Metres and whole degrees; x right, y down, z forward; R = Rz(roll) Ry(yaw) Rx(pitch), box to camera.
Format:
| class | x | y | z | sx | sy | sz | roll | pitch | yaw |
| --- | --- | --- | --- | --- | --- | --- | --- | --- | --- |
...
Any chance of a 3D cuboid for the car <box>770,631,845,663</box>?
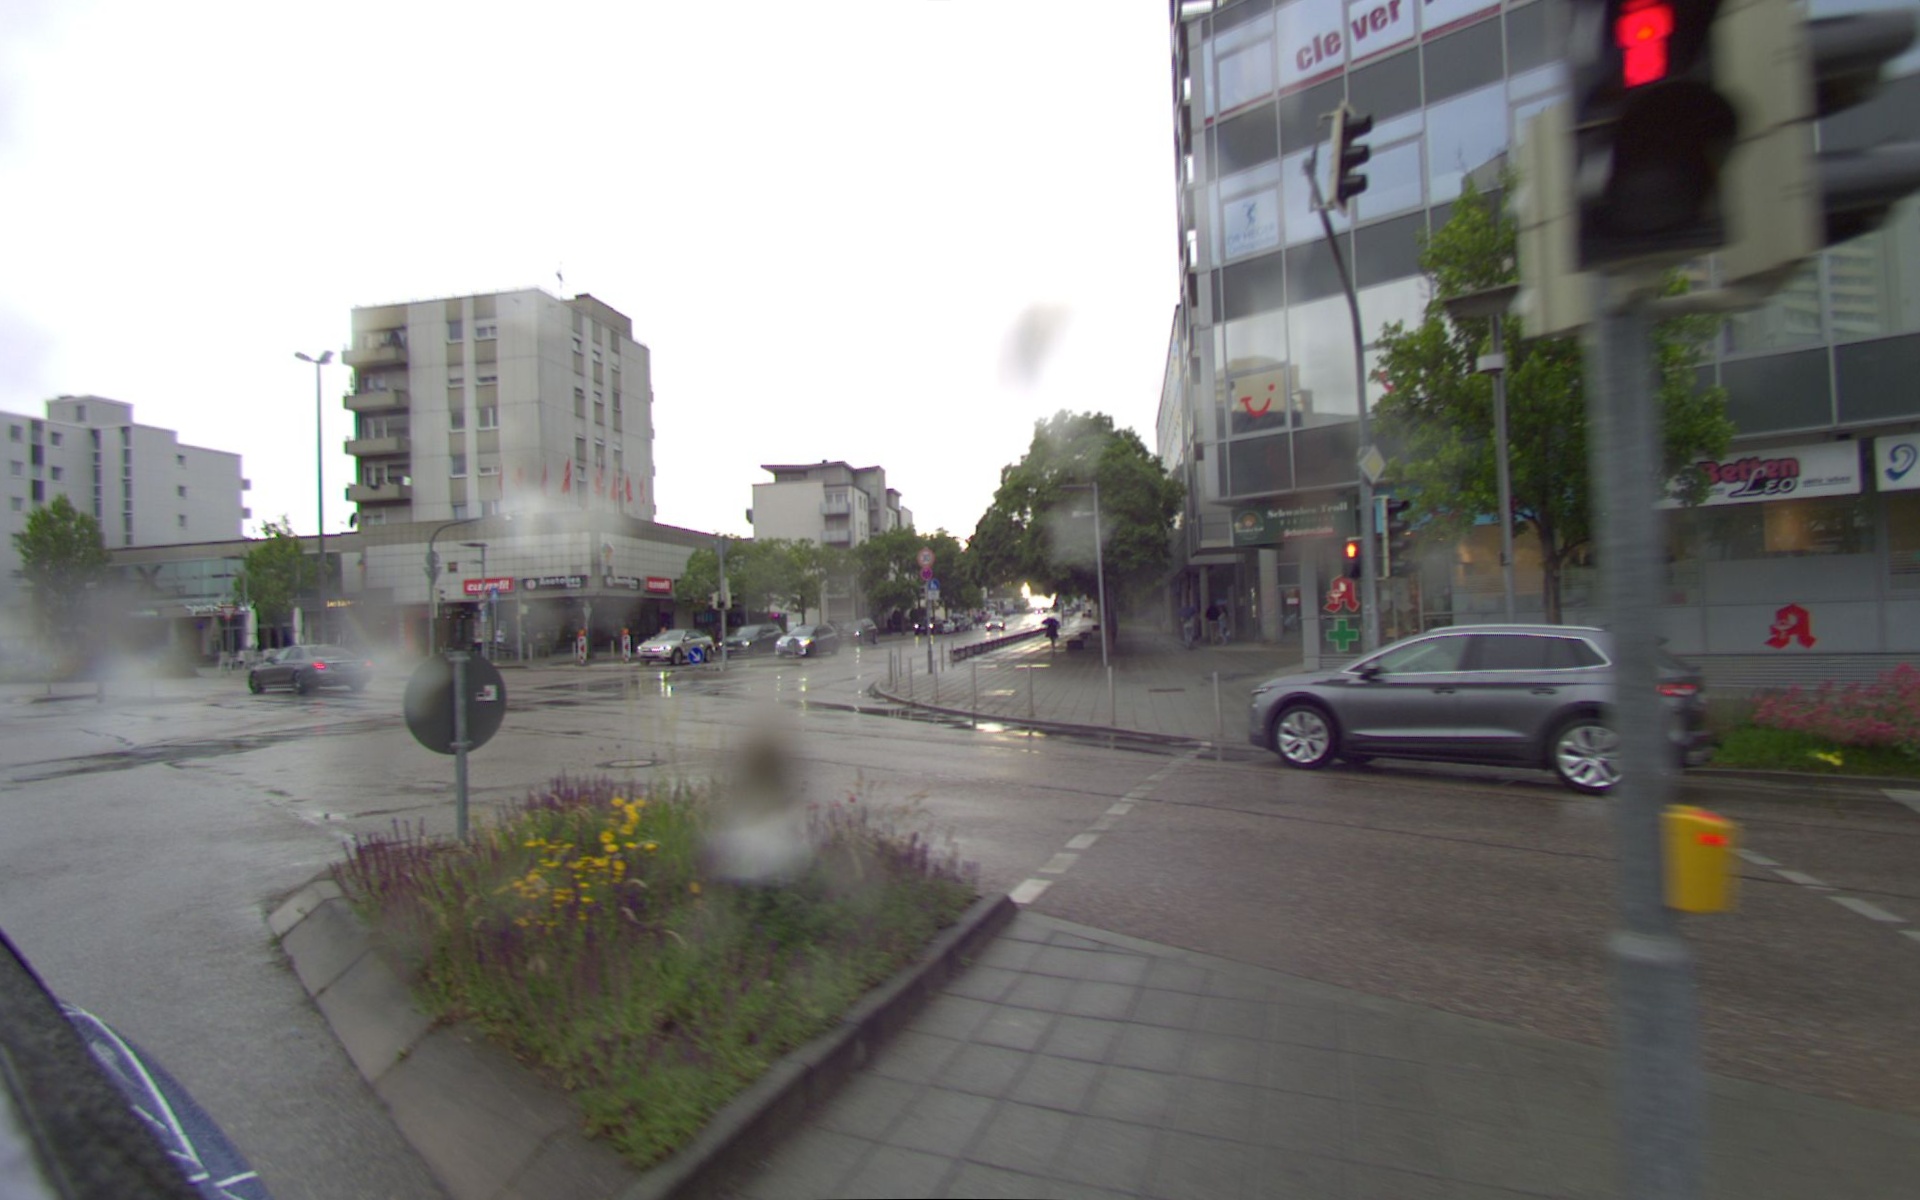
| class | x | y | z | sx | sy | sz | roll | pitch | yaw |
| --- | --- | --- | --- | --- | --- | --- | --- | --- | --- |
| car | -7.418 | 2.271 | 49.567 | 1.762 | 1.431 | 4.026 | -3 | -2 | 23 |

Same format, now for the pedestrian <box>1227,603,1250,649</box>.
| class | x | y | z | sx | sy | sz | roll | pitch | yaw |
| --- | --- | --- | --- | --- | --- | --- | --- | --- | --- |
| pedestrian | 11.636 | 1.077 | 42.320 | 0.745 | 1.882 | 0.831 | -2 | -2 | 10 |

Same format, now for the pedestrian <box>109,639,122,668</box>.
| class | x | y | z | sx | sy | sz | roll | pitch | yaw |
| --- | --- | --- | --- | --- | --- | --- | --- | --- | --- |
| pedestrian | -54.936 | 3.472 | 65.849 | 0.498 | 1.862 | 0.424 | -3 | -2 | 21 |

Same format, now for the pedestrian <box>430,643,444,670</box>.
| class | x | y | z | sx | sy | sz | roll | pitch | yaw |
| --- | --- | --- | --- | --- | --- | --- | --- | --- | --- |
| pedestrian | -27.271 | 2.948 | 52.811 | 0.490 | 1.358 | 0.537 | -1 | -2 | -44 |

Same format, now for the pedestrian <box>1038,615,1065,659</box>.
| class | x | y | z | sx | sy | sz | roll | pitch | yaw |
| --- | --- | --- | --- | --- | --- | --- | --- | --- | --- |
| pedestrian | 4.463 | 1.790 | 49.316 | 1.152 | 2.029 | 1.325 | -3 | -2 | 9 |

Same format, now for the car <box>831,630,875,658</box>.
| class | x | y | z | sx | sy | sz | roll | pitch | yaw |
| --- | --- | --- | --- | --- | --- | --- | --- | --- | --- |
| car | -6.856 | 2.797 | 65.337 | 1.698 | 1.607 | 3.986 | -3 | -1 | 11 |

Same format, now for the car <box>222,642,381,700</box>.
| class | x | y | z | sx | sy | sz | roll | pitch | yaw |
| --- | --- | --- | --- | --- | --- | --- | --- | --- | --- |
| car | -20.294 | 2.126 | 31.152 | 4.878 | 1.644 | 1.909 | -1 | -2 | 27 |

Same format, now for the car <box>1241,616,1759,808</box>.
| class | x | y | z | sx | sy | sz | roll | pitch | yaw |
| --- | --- | --- | --- | --- | --- | --- | --- | --- | --- |
| car | 5.486 | 1.083 | 10.701 | 4.522 | 1.606 | 1.856 | -3 | -6 | 42 |

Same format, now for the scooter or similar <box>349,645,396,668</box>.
| class | x | y | z | sx | sy | sz | roll | pitch | yaw |
| --- | --- | --- | --- | --- | --- | --- | --- | --- | --- |
| scooter or similar | -32.564 | 3.119 | 56.114 | 0.636 | 1.183 | 2.582 | -3 | -2 | 13 |

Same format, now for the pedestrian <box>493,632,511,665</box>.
| class | x | y | z | sx | sy | sz | roll | pitch | yaw |
| --- | --- | --- | --- | --- | --- | --- | --- | --- | --- |
| pedestrian | -25.838 | 2.740 | 57.086 | 0.704 | 1.705 | 0.658 | -5 | -4 | -37 |

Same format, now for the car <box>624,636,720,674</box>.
| class | x | y | z | sx | sy | sz | roll | pitch | yaw |
| --- | --- | --- | --- | --- | --- | --- | --- | --- | --- |
| car | -12.656 | 2.384 | 44.721 | 1.858 | 1.607 | 4.173 | -1 | -2 | 23 |

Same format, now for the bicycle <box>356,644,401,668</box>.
| class | x | y | z | sx | sy | sz | roll | pitch | yaw |
| --- | --- | --- | --- | --- | --- | --- | --- | --- | --- |
| bicycle | -33.501 | 3.209 | 58.353 | 0.690 | 1.232 | 2.542 | -3 | -1 | 14 |

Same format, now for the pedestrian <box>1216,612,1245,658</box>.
| class | x | y | z | sx | sy | sz | roll | pitch | yaw |
| --- | --- | --- | --- | --- | --- | --- | --- | --- | --- |
| pedestrian | 11.555 | 1.498 | 43.254 | 0.819 | 1.882 | 0.756 | -1 | -2 | -17 |

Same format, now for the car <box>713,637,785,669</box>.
| class | x | y | z | sx | sy | sz | roll | pitch | yaw |
| --- | --- | --- | --- | --- | --- | --- | --- | --- | --- |
| car | -10.641 | 2.654 | 51.231 | 1.854 | 1.431 | 4.036 | -3 | -2 | 17 |

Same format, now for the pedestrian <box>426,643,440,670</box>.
| class | x | y | z | sx | sy | sz | roll | pitch | yaw |
| --- | --- | --- | --- | --- | --- | --- | --- | --- | --- |
| pedestrian | -27.782 | 2.969 | 53.323 | 0.537 | 1.358 | 0.490 | -3 | -1 | 45 |

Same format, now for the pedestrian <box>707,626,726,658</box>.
| class | x | y | z | sx | sy | sz | roll | pitch | yaw |
| --- | --- | --- | --- | --- | --- | --- | --- | --- | --- |
| pedestrian | -14.563 | 2.505 | 60.426 | 0.805 | 1.908 | 0.713 | -3 | -3 | 29 |
